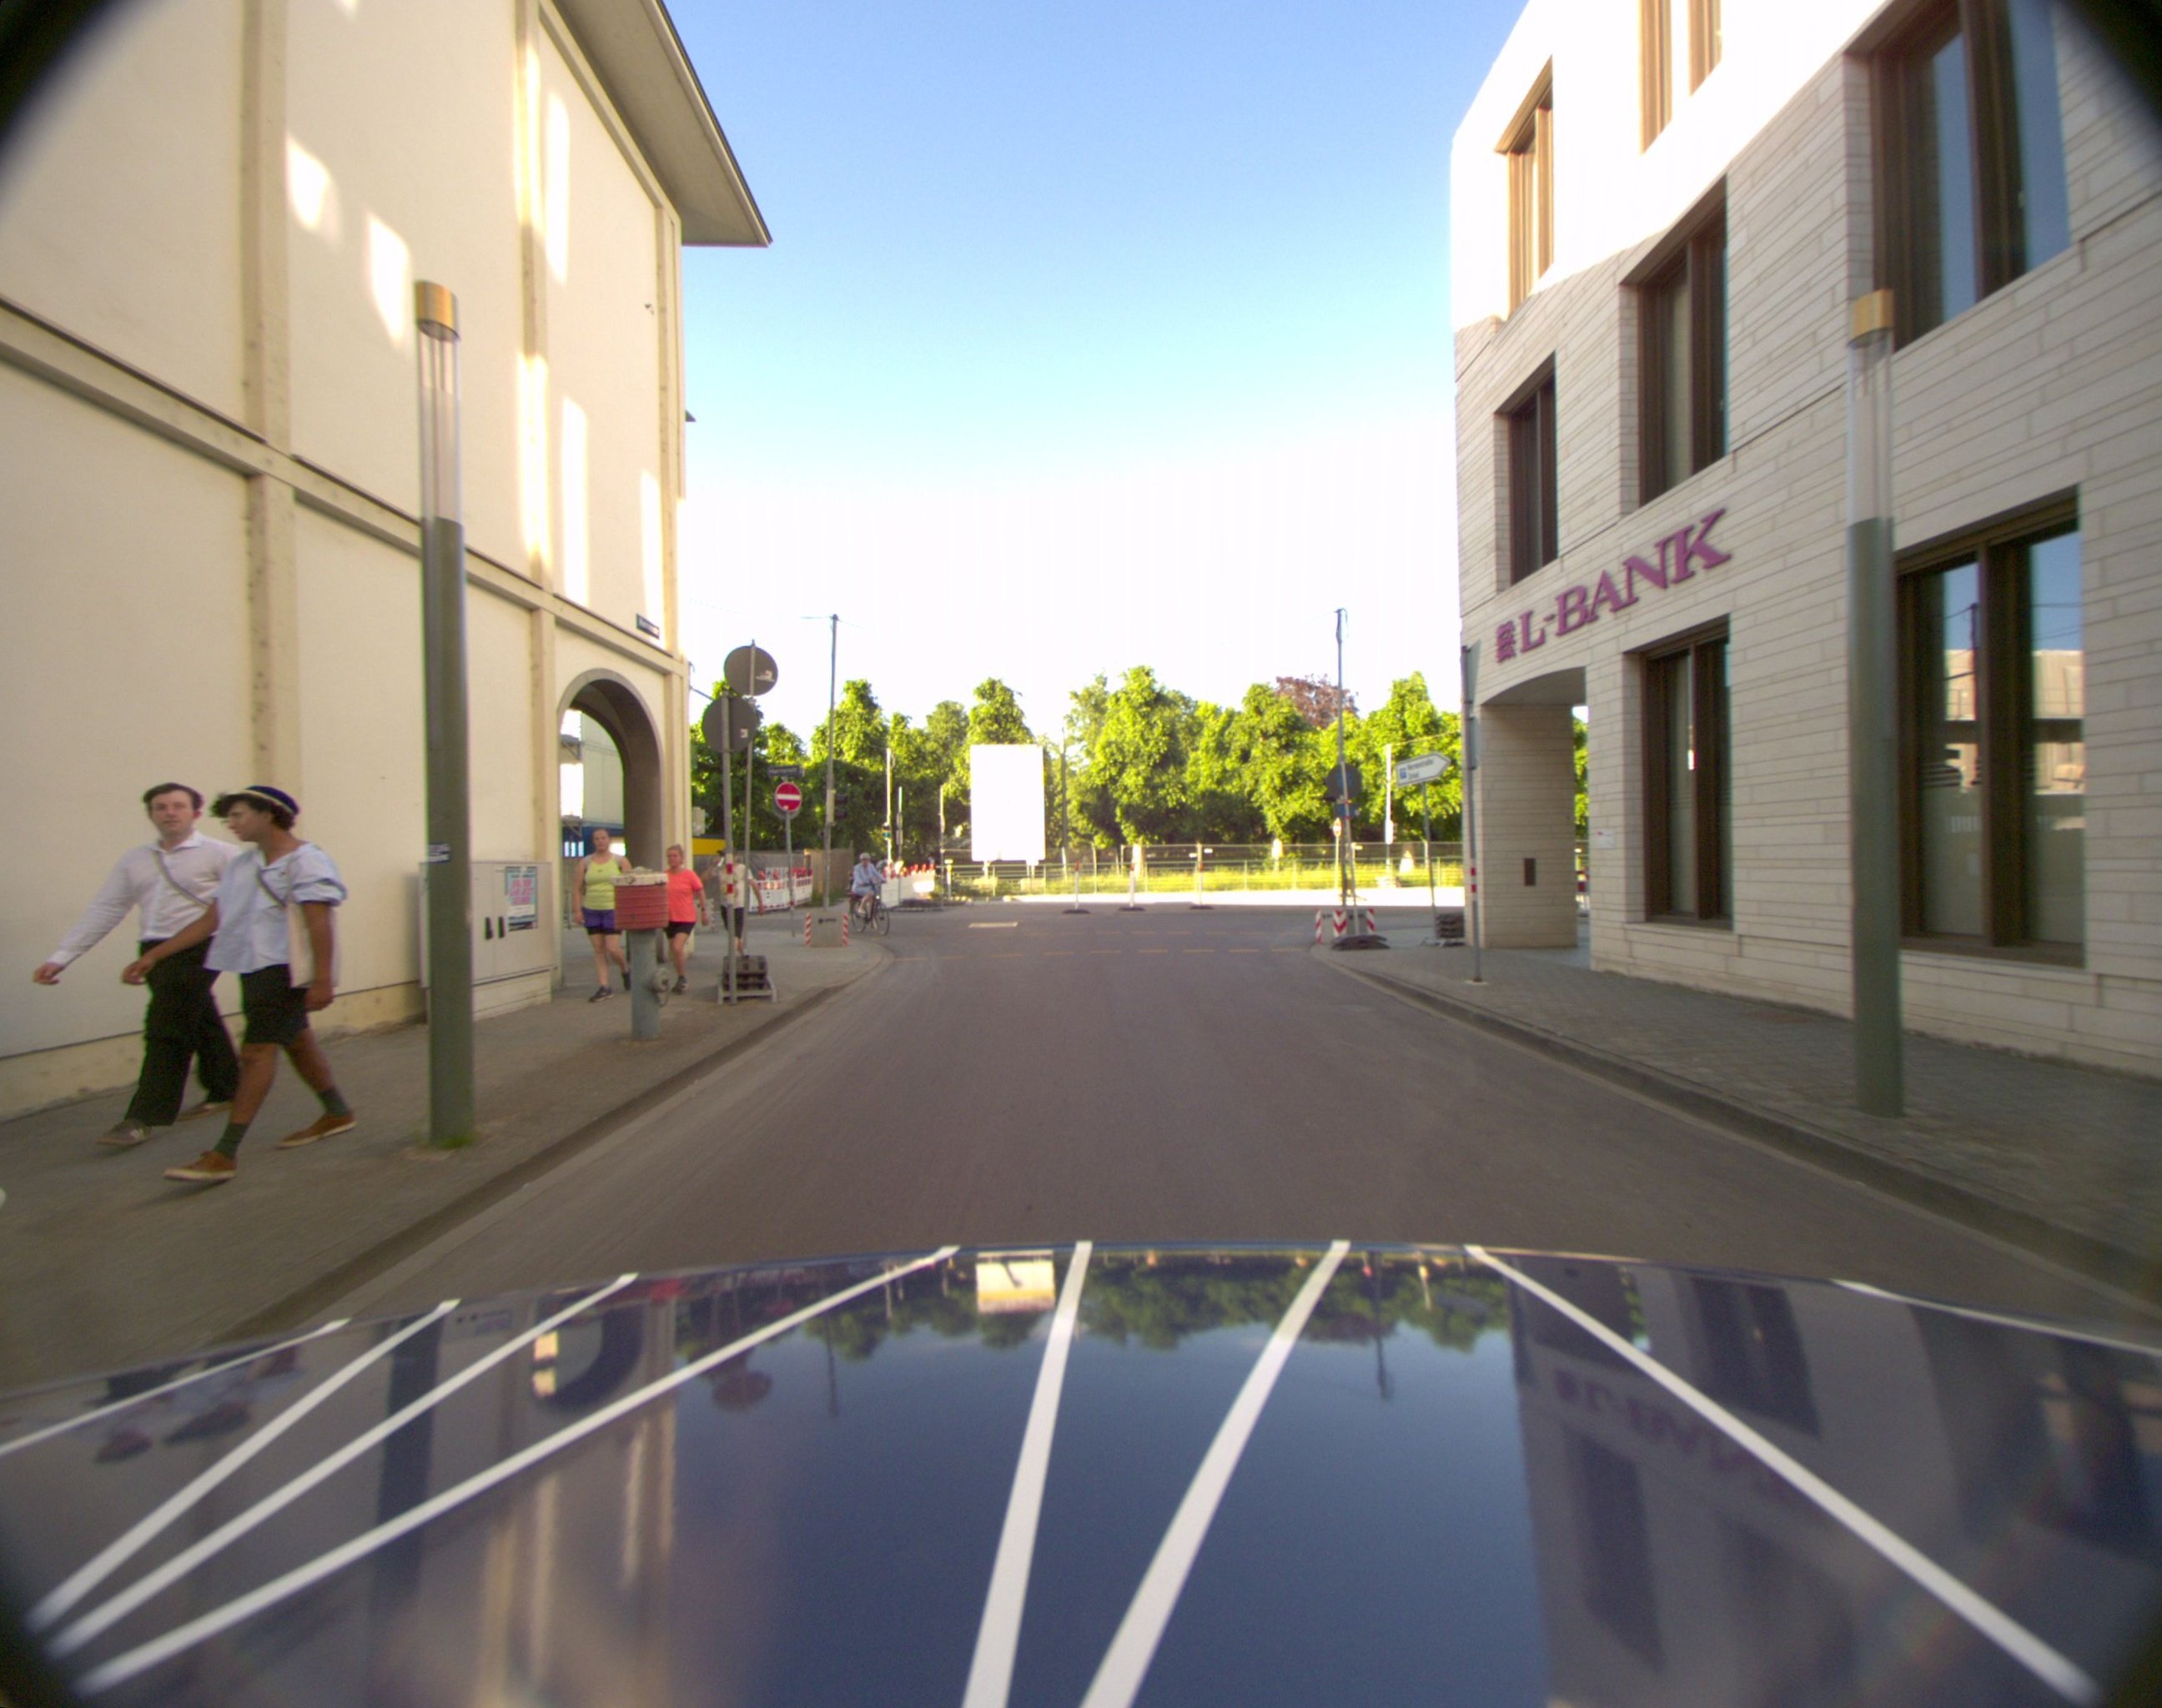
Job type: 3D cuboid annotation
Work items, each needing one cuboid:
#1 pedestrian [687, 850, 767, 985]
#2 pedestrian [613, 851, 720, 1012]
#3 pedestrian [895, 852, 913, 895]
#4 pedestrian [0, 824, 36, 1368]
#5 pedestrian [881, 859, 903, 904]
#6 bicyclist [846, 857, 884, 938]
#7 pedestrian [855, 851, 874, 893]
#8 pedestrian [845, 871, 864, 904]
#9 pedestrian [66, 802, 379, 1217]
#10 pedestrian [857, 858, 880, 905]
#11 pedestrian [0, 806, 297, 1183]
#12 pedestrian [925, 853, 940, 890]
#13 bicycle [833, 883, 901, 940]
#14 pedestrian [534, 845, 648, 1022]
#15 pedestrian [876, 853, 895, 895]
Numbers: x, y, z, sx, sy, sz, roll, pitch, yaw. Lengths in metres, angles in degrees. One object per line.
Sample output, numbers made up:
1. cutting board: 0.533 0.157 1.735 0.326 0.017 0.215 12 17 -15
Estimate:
1. pedestrian: -4.637 0.812 9.997 0.685 1.705 0.694 1 -1 0
2. pedestrian: -4.427 0.801 8.166 0.685 1.627 0.693 3 0 0
3. pedestrian: -7.606 0.833 32.634 0.626 1.773 0.623 -2 1 -7
4. pedestrian: -3.799 0.767 2.127 0.685 1.768 0.693 4 0 0
5. pedestrian: -6.862 0.991 27.626 0.626 1.604 0.623 -2 1 -7
6. bicyclist: -4.668 0.925 16.434 0.587 1.679 0.537 -3 2 -35
7. pedestrian: -9.437 0.778 33.090 0.626 1.773 0.623 -2 1 -7
8. pedestrian: -8.273 1.223 27.772 0.535 1.169 0.623 -2 1 -7
9. pedestrian: -3.985 0.667 3.589 0.685 1.768 0.693 1 0 0
10. pedestrian: -7.645 0.974 27.381 0.626 1.632 0.623 -2 1 -7
11. pedestrian: -4.878 0.677 3.994 0.685 1.768 0.693 4 0 0
12. pedestrian: -7.227 0.832 37.011 0.626 1.773 0.623 -2 1 -7
13. bicycle: -4.661 1.211 16.450 0.597 1.077 2.304 -3 1 -36
14. pedestrian: -4.908 0.764 7.646 0.685 1.705 0.693 0 0 0
15. pedestrian: -8.524 0.861 33.158 0.626 1.773 0.623 -2 1 -7
